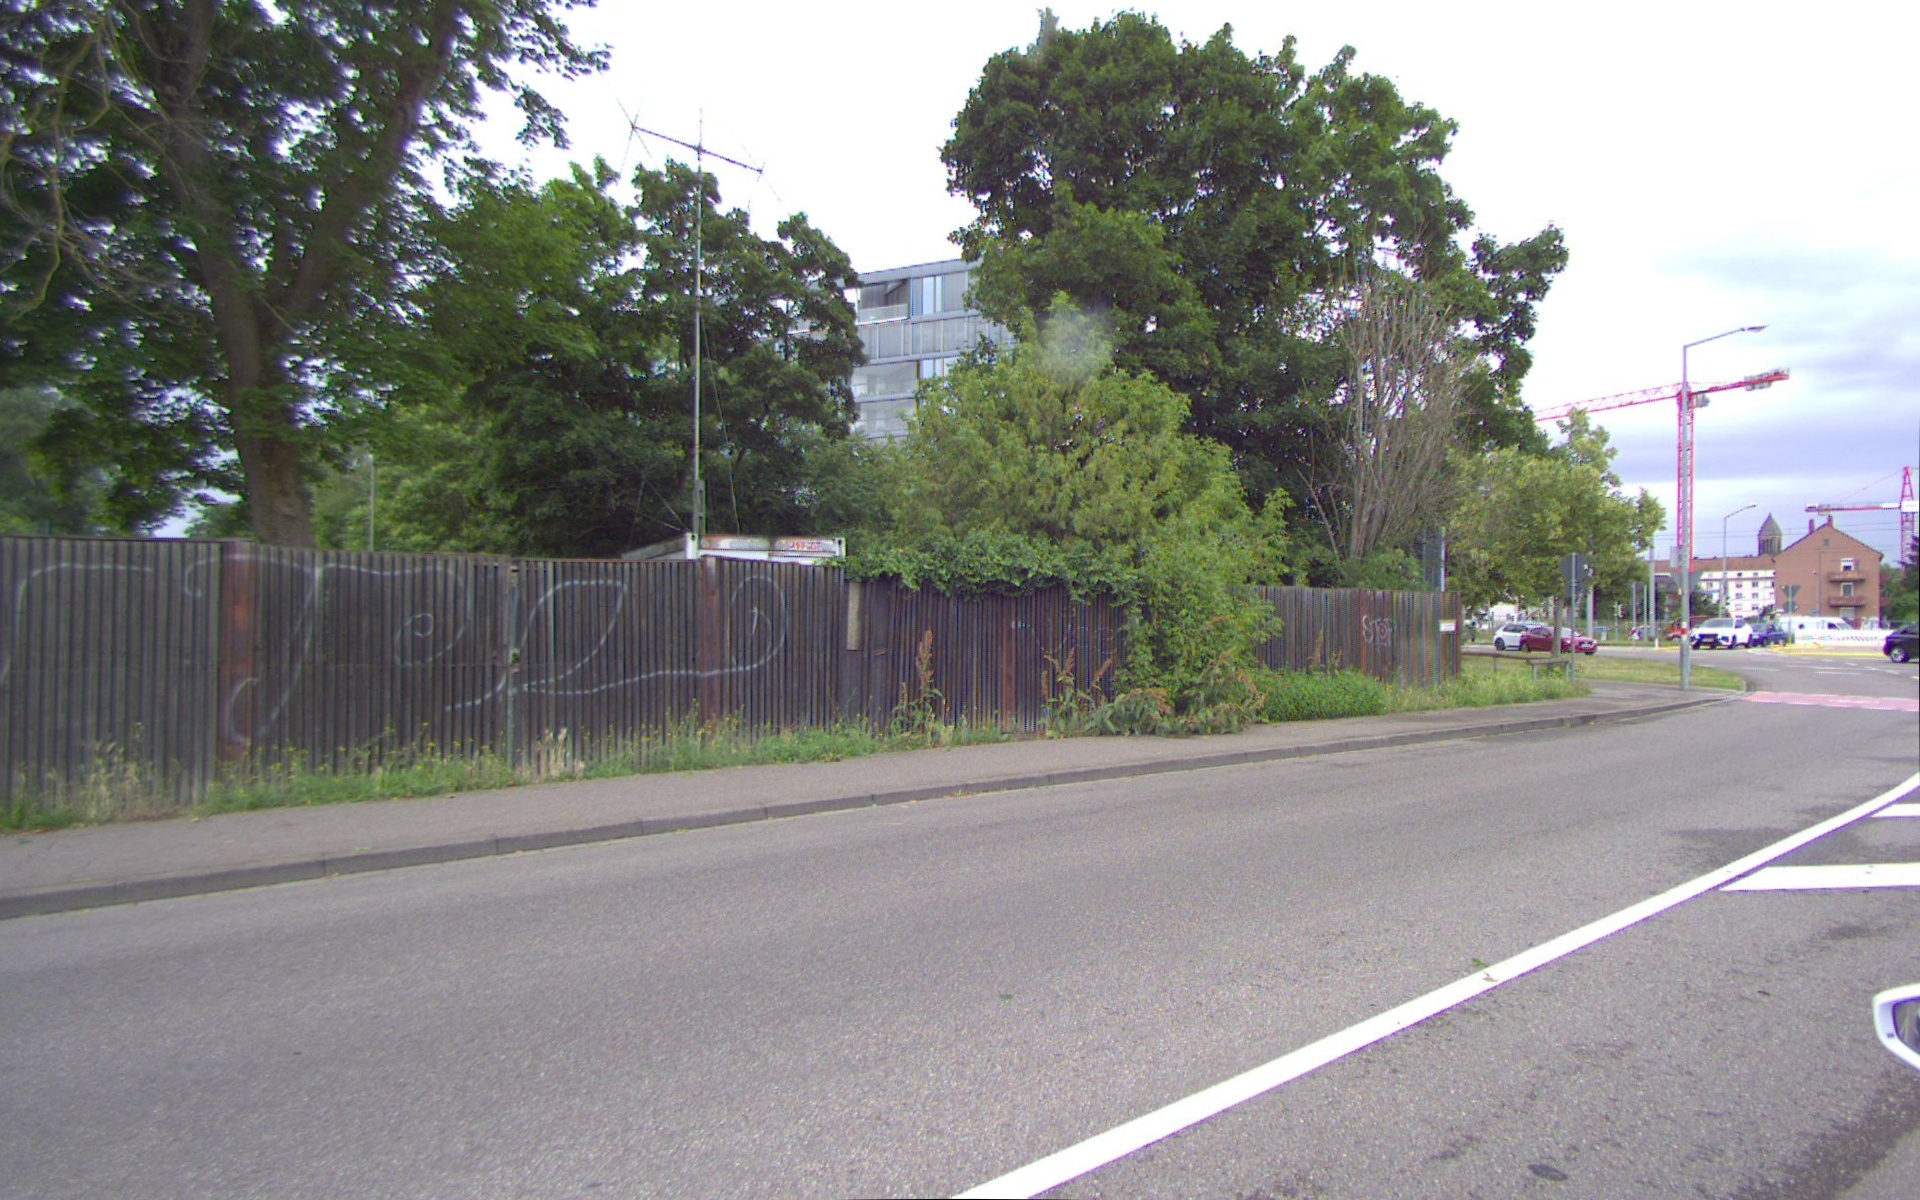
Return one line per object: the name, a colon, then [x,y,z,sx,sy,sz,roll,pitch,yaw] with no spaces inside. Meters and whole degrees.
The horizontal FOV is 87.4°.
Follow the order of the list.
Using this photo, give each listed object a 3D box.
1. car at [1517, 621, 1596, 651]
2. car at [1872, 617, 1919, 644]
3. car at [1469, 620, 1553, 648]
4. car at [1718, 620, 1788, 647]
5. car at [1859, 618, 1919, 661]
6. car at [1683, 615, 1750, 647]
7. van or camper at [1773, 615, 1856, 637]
car: [30.646,1.838,51.762,1.959,1.483,4.360,0,-1,7]
car: [58.966,1.849,61.283,4.580,1.656,2.001,0,-1,8]
car: [31.864,1.930,58.194,1.970,1.528,3.981,0,-1,-21]
car: [46.373,1.922,58.711,3.953,1.509,1.922,1,-1,-30]
car: [34.735,1.395,35.532,1.961,1.483,4.322,0,-1,-1]
car: [41.131,1.667,54.592,4.152,1.706,1.916,1,-1,-38]
van or camper: [84.612,2.547,99.553,1.969,2.040,6.171,0,-1,-19]
